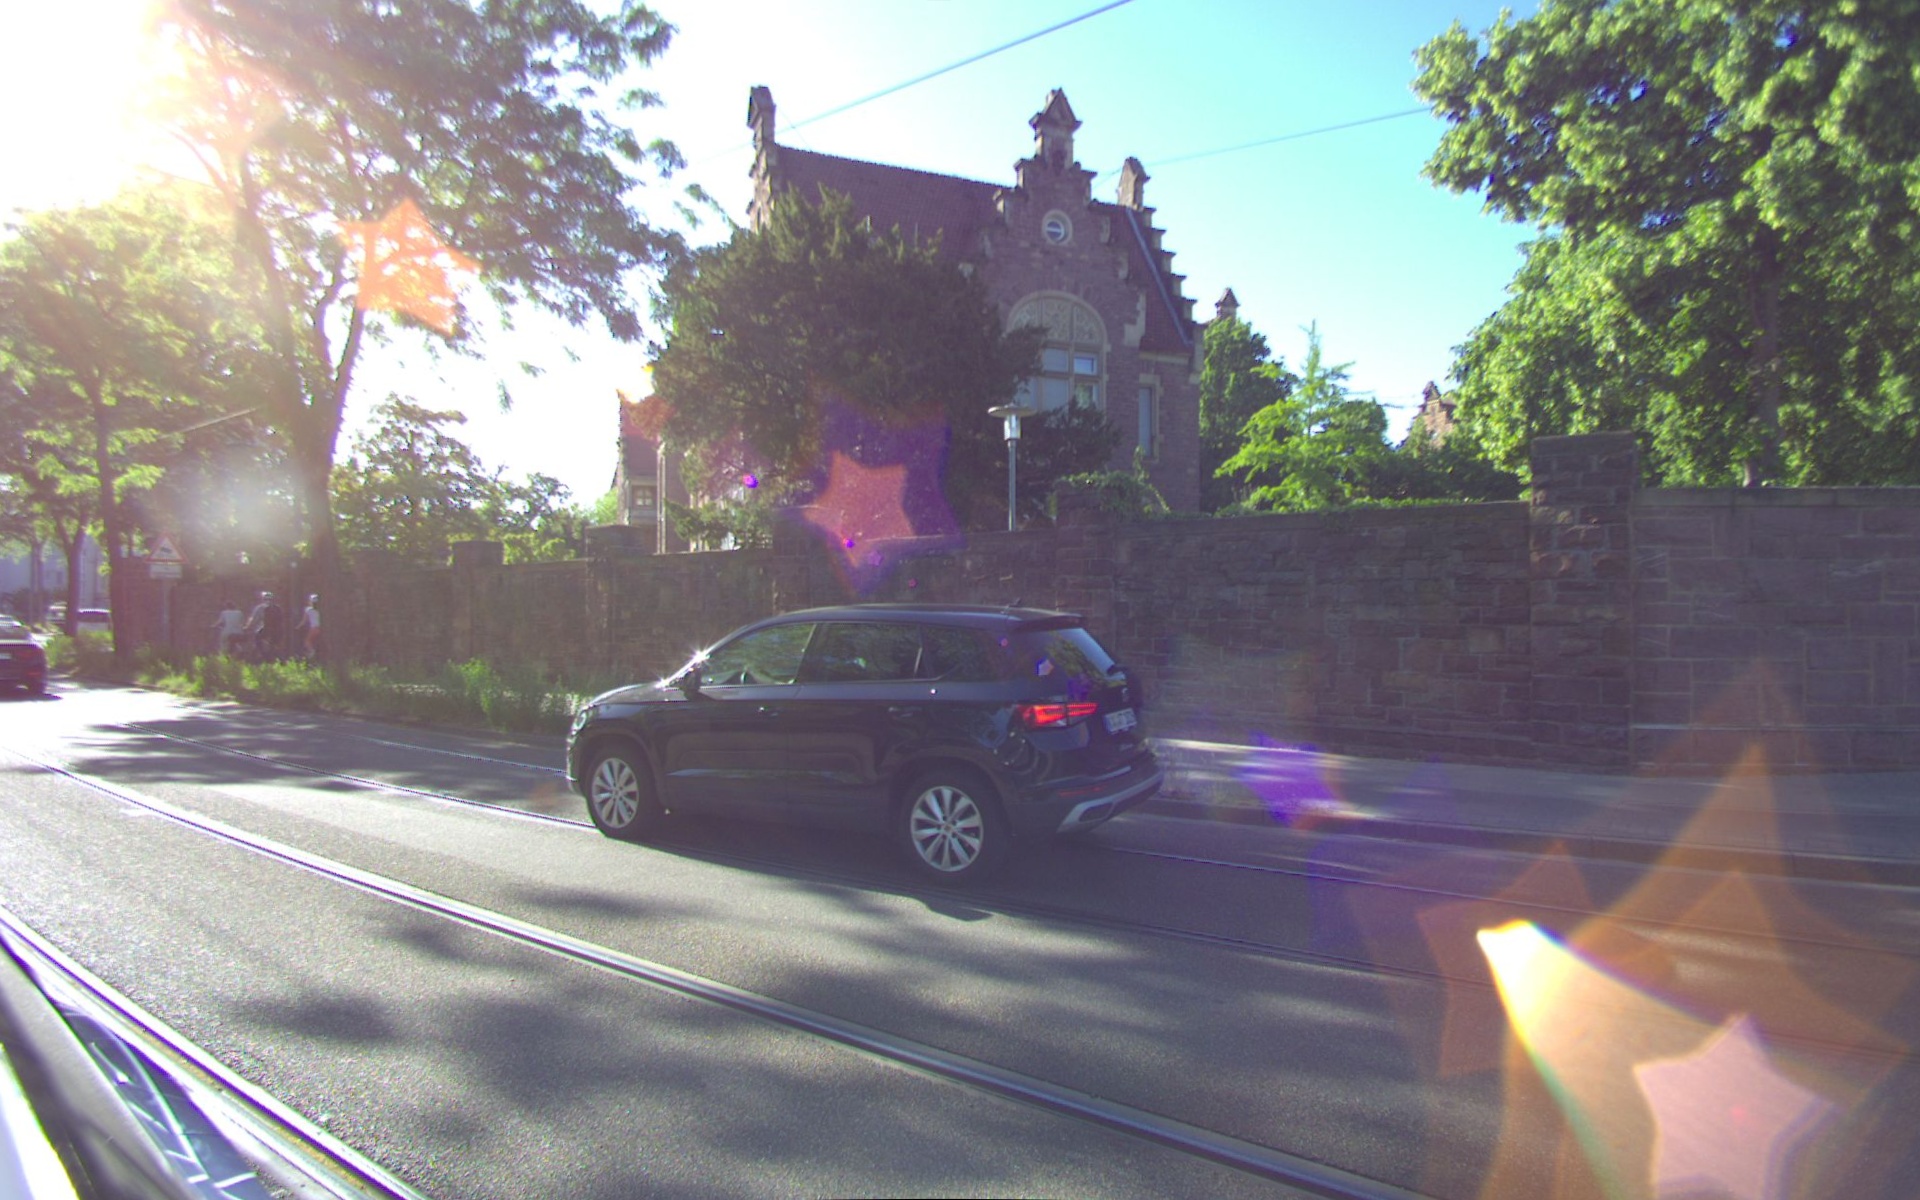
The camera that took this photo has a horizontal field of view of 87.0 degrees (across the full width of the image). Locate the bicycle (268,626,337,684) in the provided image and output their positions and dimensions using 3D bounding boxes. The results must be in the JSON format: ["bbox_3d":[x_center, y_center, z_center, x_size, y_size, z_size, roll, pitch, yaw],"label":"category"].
[{"bbox_3d":[-14.668,1.190,22.553,2.087,1.200,0.724,-1,0,41],"label":"bicycle"}]

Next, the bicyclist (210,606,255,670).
[{"bbox_3d":[-17.846,0.918,24.829,0.751,1.546,0.734,-1,0,40],"label":"bicyclist"}]

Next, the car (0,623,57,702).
[{"bbox_3d":[-19.450,1.173,19.699,4.247,1.433,1.722,-1,-1,33],"label":"car"}]

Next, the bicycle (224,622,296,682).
[{"bbox_3d":[-15.149,1.095,21.880,2.101,1.200,0.764,-1,0,41],"label":"bicycle"}]

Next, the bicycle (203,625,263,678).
[{"bbox_3d":[-17.880,1.237,24.864,2.087,1.200,0.737,-1,0,41],"label":"bicycle"}]

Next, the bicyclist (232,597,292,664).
[{"bbox_3d":[-15.000,0.641,21.751,1.271,1.401,0.758,-1,0,41],"label":"bicyclist"}]

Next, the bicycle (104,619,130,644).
[{"bbox_3d":[-37.068,1.372,44.523,0.673,1.086,1.741,0,0,-33],"label":"bicycle"}]

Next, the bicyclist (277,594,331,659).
[{"bbox_3d":[-14.553,0.577,22.449,1.060,1.401,0.724,-1,0,41],"label":"bicyclist"}]

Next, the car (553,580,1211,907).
[{"bbox_3d":[-0.583,0.790,6.896,4.099,1.629,1.909,-2,-2,29],"label":"car"}]

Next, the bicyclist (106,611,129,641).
[{"bbox_3d":[-37.026,1.115,44.463,0.674,1.294,0.874,0,0,-33],"label":"bicyclist"}]

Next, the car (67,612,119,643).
[{"bbox_3d":[-52.925,1.661,61.864,1.802,1.824,4.011,1,-1,-32],"label":"car"}]
